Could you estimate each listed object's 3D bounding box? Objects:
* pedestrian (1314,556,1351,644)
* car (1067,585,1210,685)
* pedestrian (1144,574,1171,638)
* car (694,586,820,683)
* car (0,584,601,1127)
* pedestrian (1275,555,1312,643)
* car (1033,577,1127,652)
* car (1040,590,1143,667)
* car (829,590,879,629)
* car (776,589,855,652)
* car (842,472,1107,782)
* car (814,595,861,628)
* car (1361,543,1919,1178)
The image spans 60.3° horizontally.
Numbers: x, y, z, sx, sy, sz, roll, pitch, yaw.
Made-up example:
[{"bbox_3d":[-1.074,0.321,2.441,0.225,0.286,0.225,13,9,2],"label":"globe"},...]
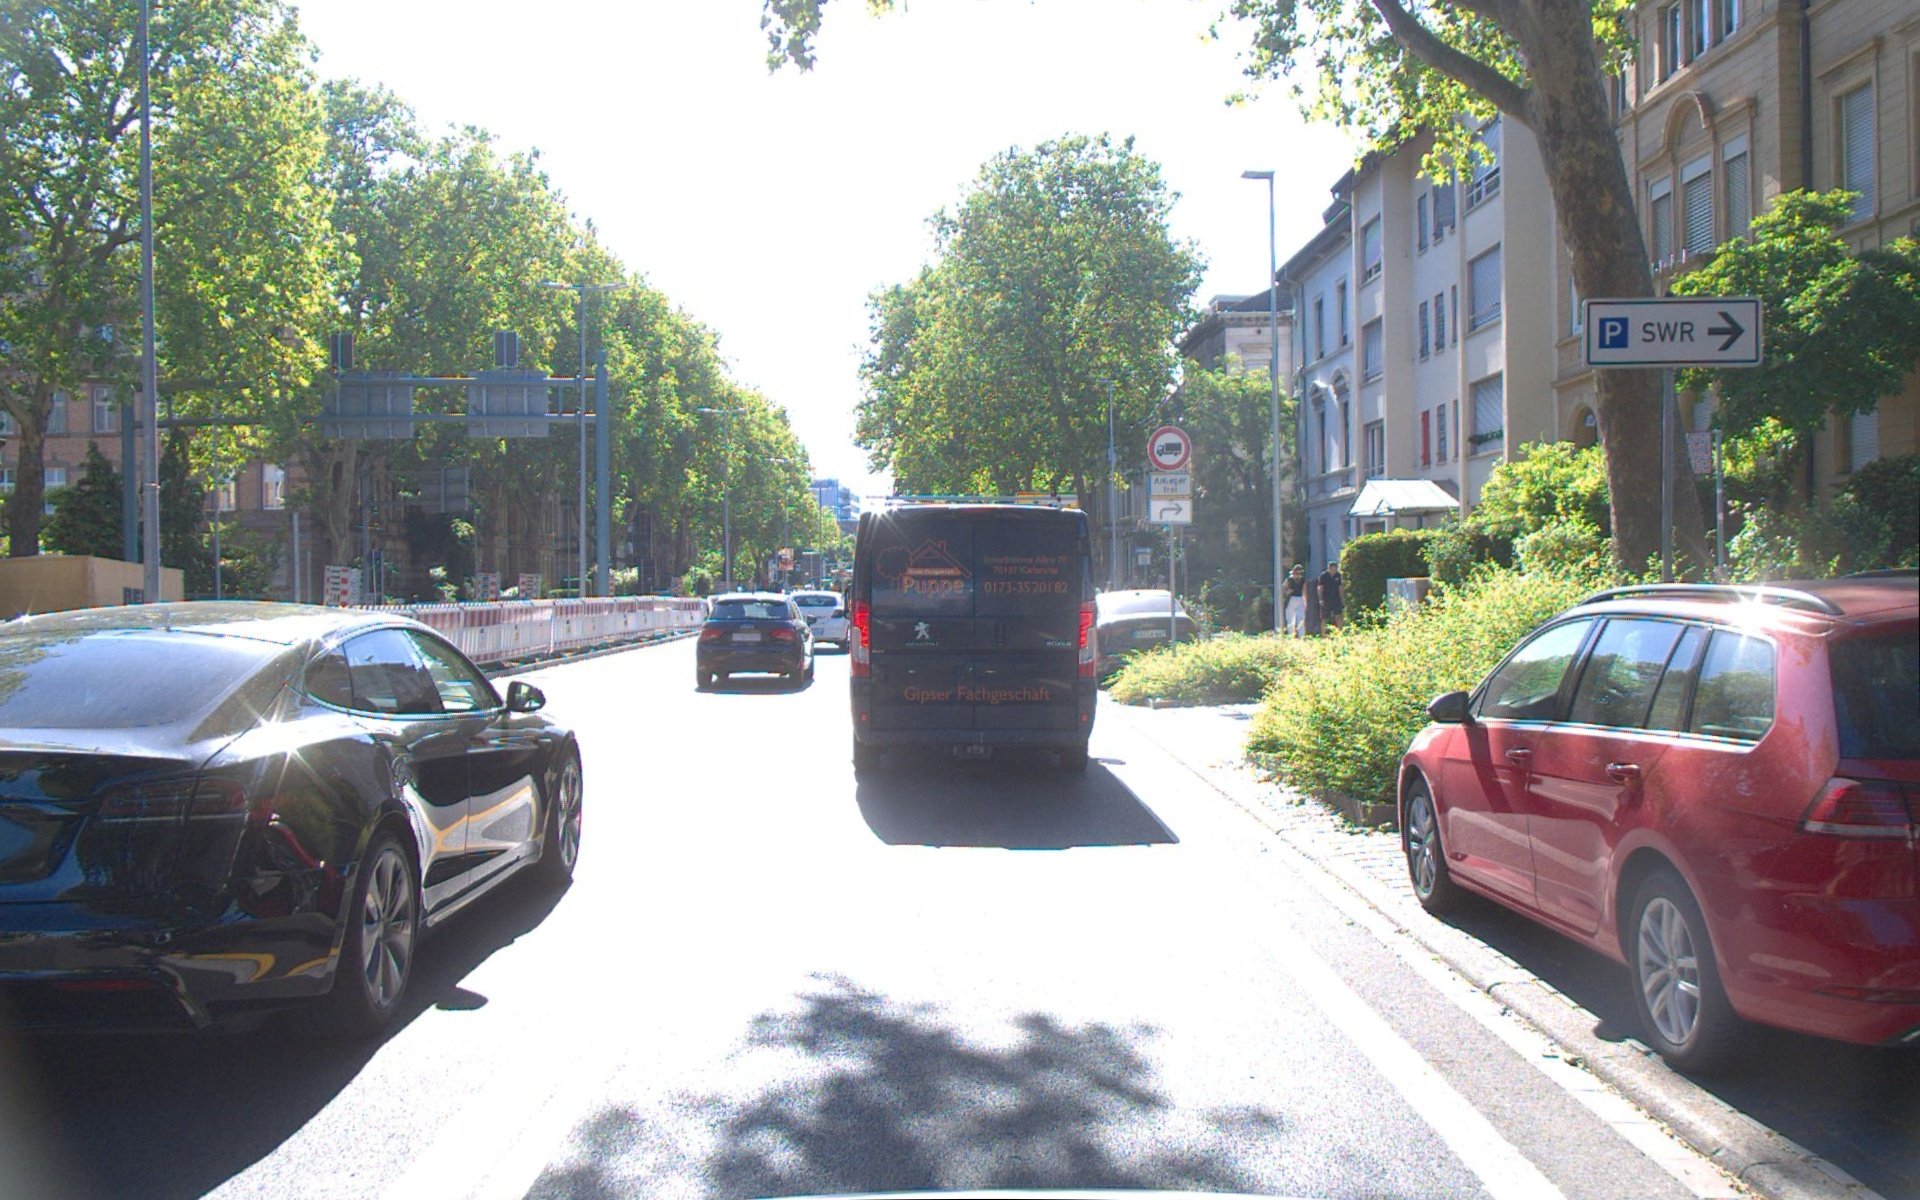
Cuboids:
[{"bbox_3d":[7.703,-0.004,34.241,0.640,1.786,1.014,-1,0,8],"label":"pedestrian"},{"bbox_3d":[2.847,0.521,27.224,1.807,1.467,4.487,-1,0,0],"label":"car"},{"bbox_3d":[6.388,0.187,53.585,0.781,2.049,1.169,-1,0,4],"label":"pedestrian"},{"bbox_3d":[-3.214,0.522,26.816,1.711,1.432,3.998,1,0,-3],"label":"car"},{"bbox_3d":[-2.865,0.666,6.734,1.886,1.436,4.624,1,0,-2],"label":"car"},{"bbox_3d":[6.925,-0.023,34.379,0.661,1.786,0.876,-1,0,8],"label":"pedestrian"},{"bbox_3d":[2.862,0.327,40.182,1.807,1.672,3.799,-2,0,-2],"label":"car"},{"bbox_3d":[2.598,0.540,33.390,1.806,1.433,3.801,-1,0,1],"label":"car"},{"bbox_3d":[-3.507,0.304,55.040,1.392,1.246,3.438,-1,0,0],"label":"car"},{"bbox_3d":[-3.524,0.488,40.802,1.515,1.450,3.556,-1,0,2],"label":"car"},{"bbox_3d":[0.051,0.182,14.784,2.053,2.396,3.932,0,1,-2],"label":"car"},{"bbox_3d":[-5.900,0.528,79.828,1.953,1.495,4.000,1,1,0],"label":"car"},{"bbox_3d":[3.033,0.607,6.362,1.784,1.534,4.676,-2,0,0],"label":"car"}]
